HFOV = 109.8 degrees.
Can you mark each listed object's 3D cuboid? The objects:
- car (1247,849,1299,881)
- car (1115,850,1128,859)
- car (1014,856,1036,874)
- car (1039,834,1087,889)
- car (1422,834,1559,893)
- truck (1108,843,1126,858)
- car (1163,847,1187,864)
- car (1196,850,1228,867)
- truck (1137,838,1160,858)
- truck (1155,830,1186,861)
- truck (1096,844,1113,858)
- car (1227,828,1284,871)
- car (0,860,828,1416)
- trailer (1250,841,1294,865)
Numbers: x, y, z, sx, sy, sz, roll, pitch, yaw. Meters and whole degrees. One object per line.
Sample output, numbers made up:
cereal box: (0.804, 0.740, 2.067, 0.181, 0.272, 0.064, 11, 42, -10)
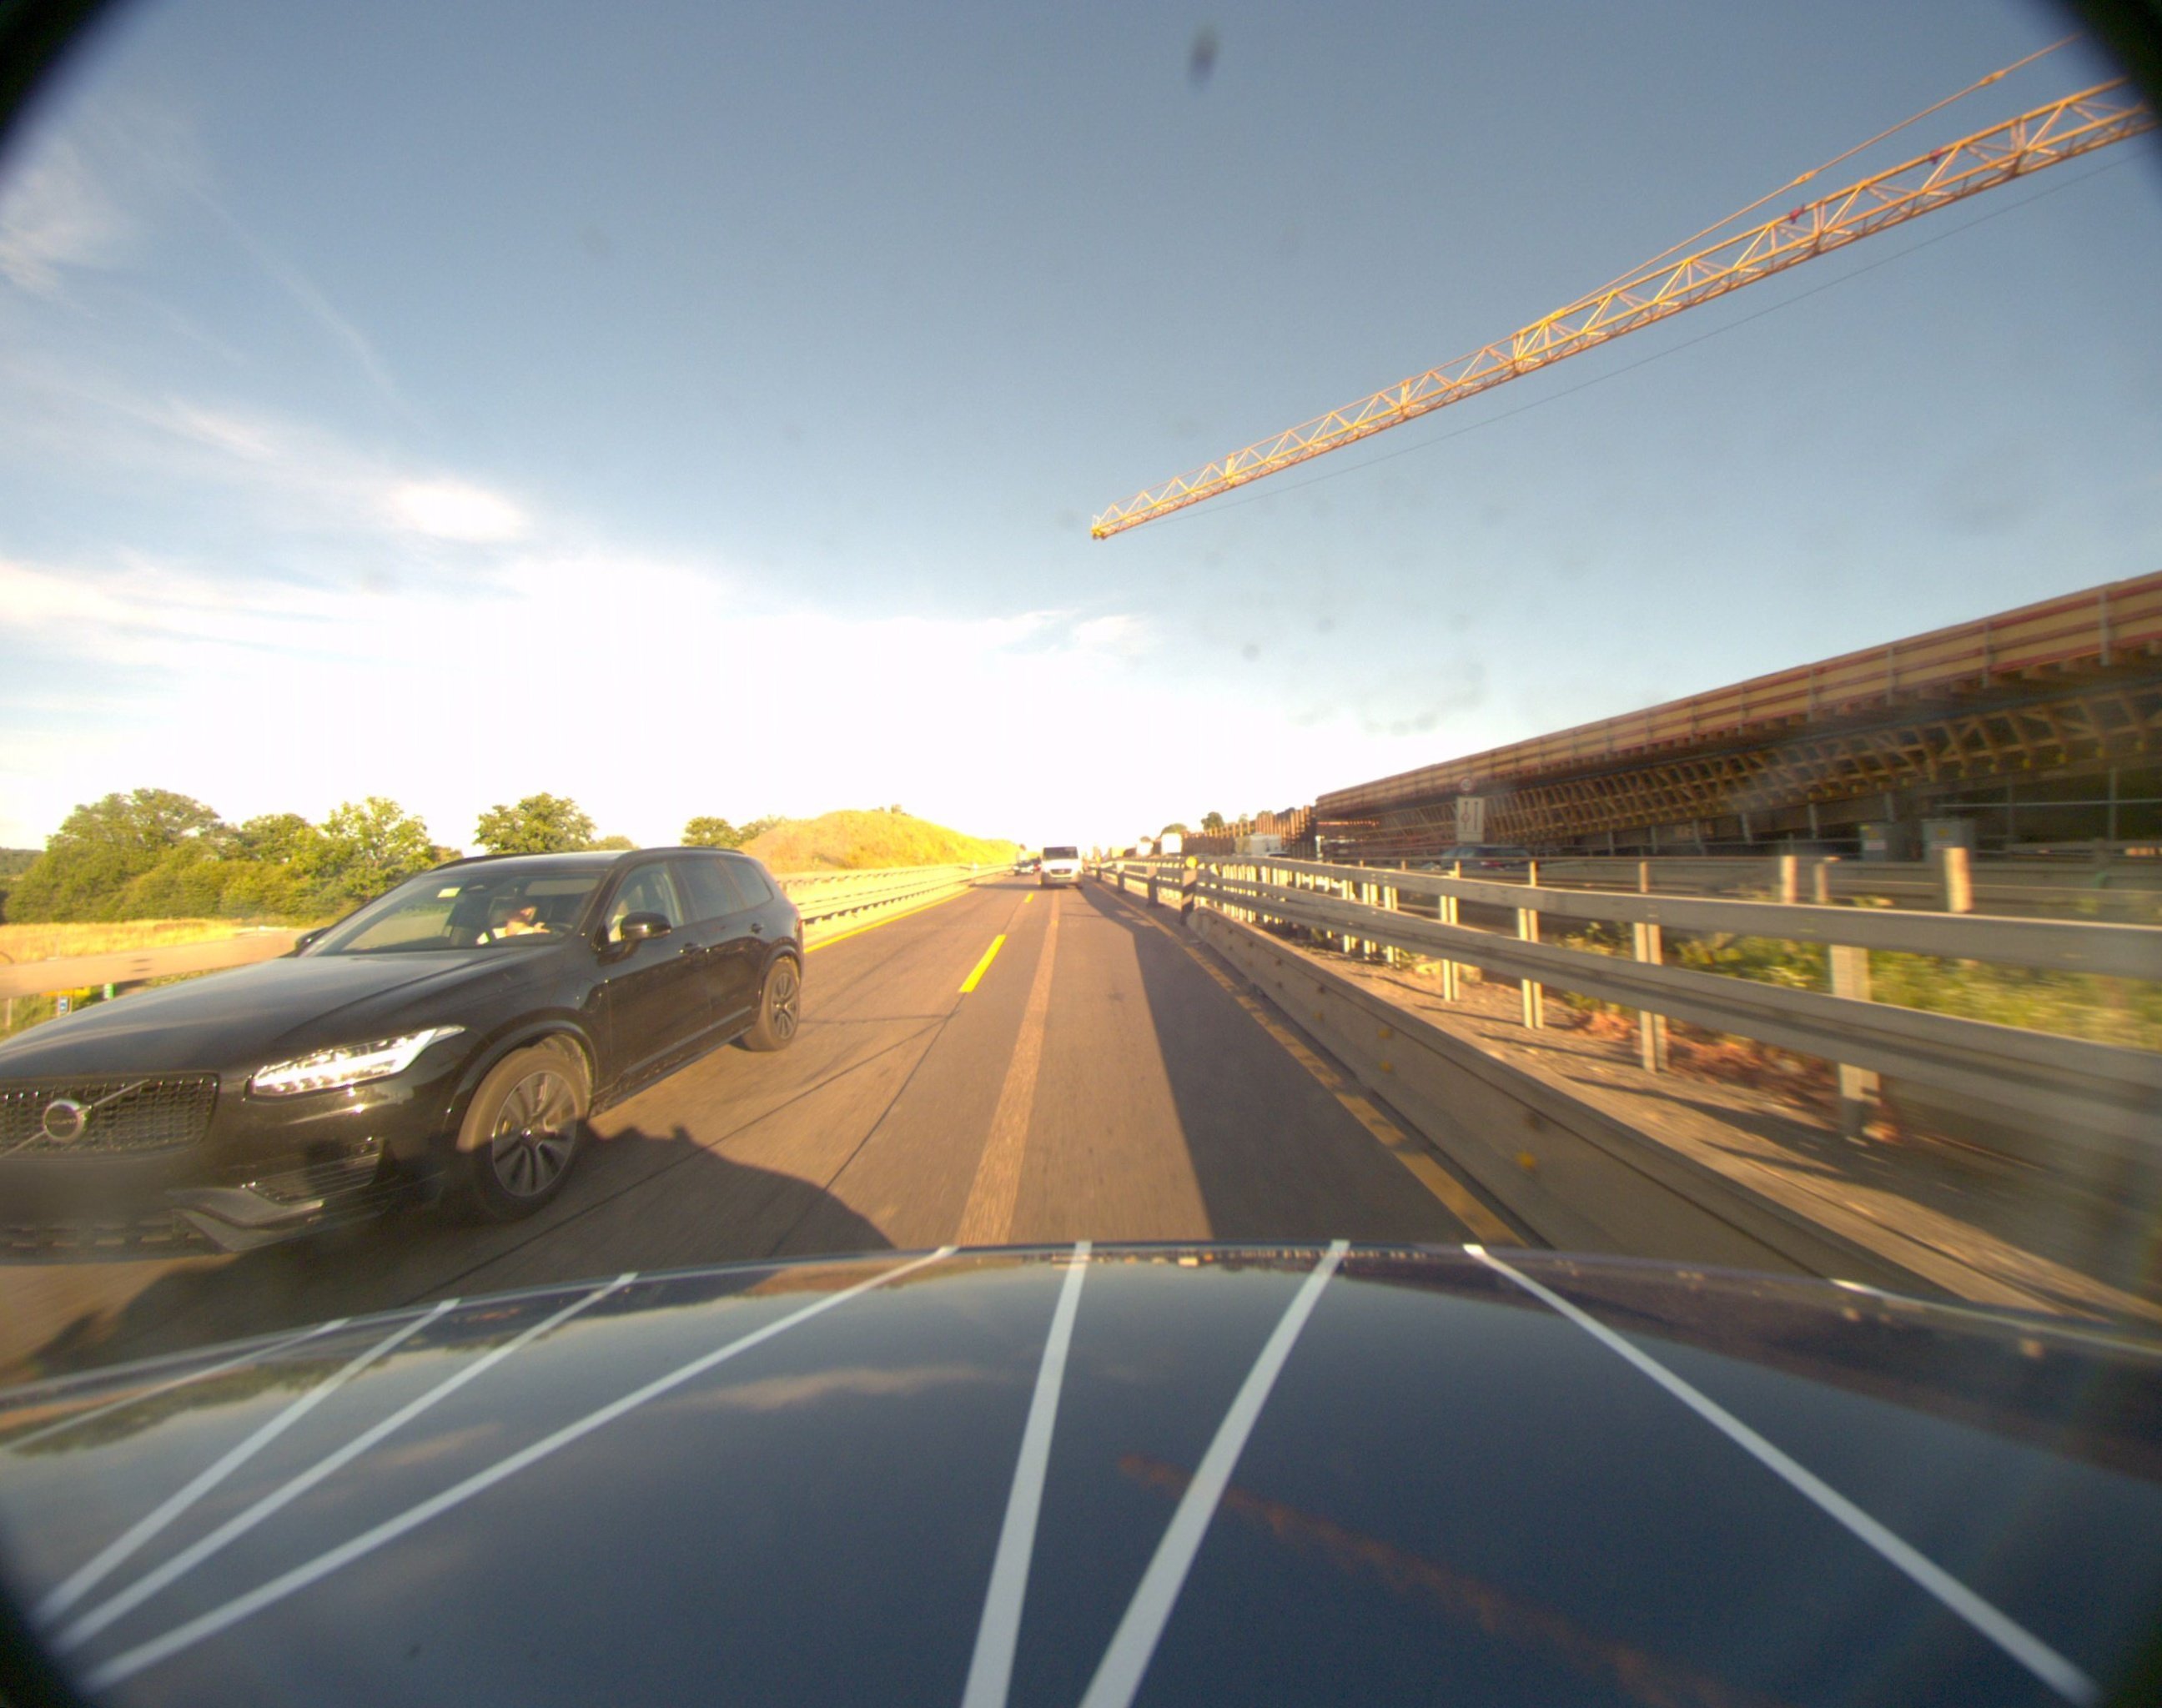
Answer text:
car: (10.672, 0.579, 42.510, 1.734, 1.591, 4.112, -3, 0, -2)
car: (8.361, 0.106, 158.305, 1.999, 1.630, 3.998, -4, 0, -6)
car: (-5.250, 1.015, 71.537, 1.791, 1.477, 3.999, -3, 0, -2)
car: (-0.885, 0.333, 38.075, 2.110, 2.518, 5.219, -3, 1, -1)
car: (11.586, 0.238, 21.830, 1.665, 1.382, 4.000, -7, 0, 0)
truck: (8.596, -0.837, 183.495, 3.344, 3.224, 10.970, -3, 0, -2)
car: (9.431, 0.139, 76.489, 1.620, 1.511, 4.111, -3, 0, -4)
car: (10.571, 0.348, 61.450, 1.734, 1.270, 4.112, -3, 0, -2)
truck: (11.054, -0.989, 125.772, 2.775, 3.224, 7.161, -3, 0, -2)
truck: (11.553, -1.045, 98.620, 2.796, 3.704, 7.161, -3, 0, -2)
truck: (6.858, -0.914, 223.968, 3.922, 3.729, 9.725, -4, 0, -2)
car: (12.948, -0.329, 56.811, 2.334, 2.950, 6.160, -3, 0, -4)
car: (-3.447, 0.966, 4.908, 1.902, 1.703, 4.887, -3, 0, 0)
trailer: (13.213, -0.093, 52.667, 2.328, 1.504, 2.144, -3, 0, -4)
